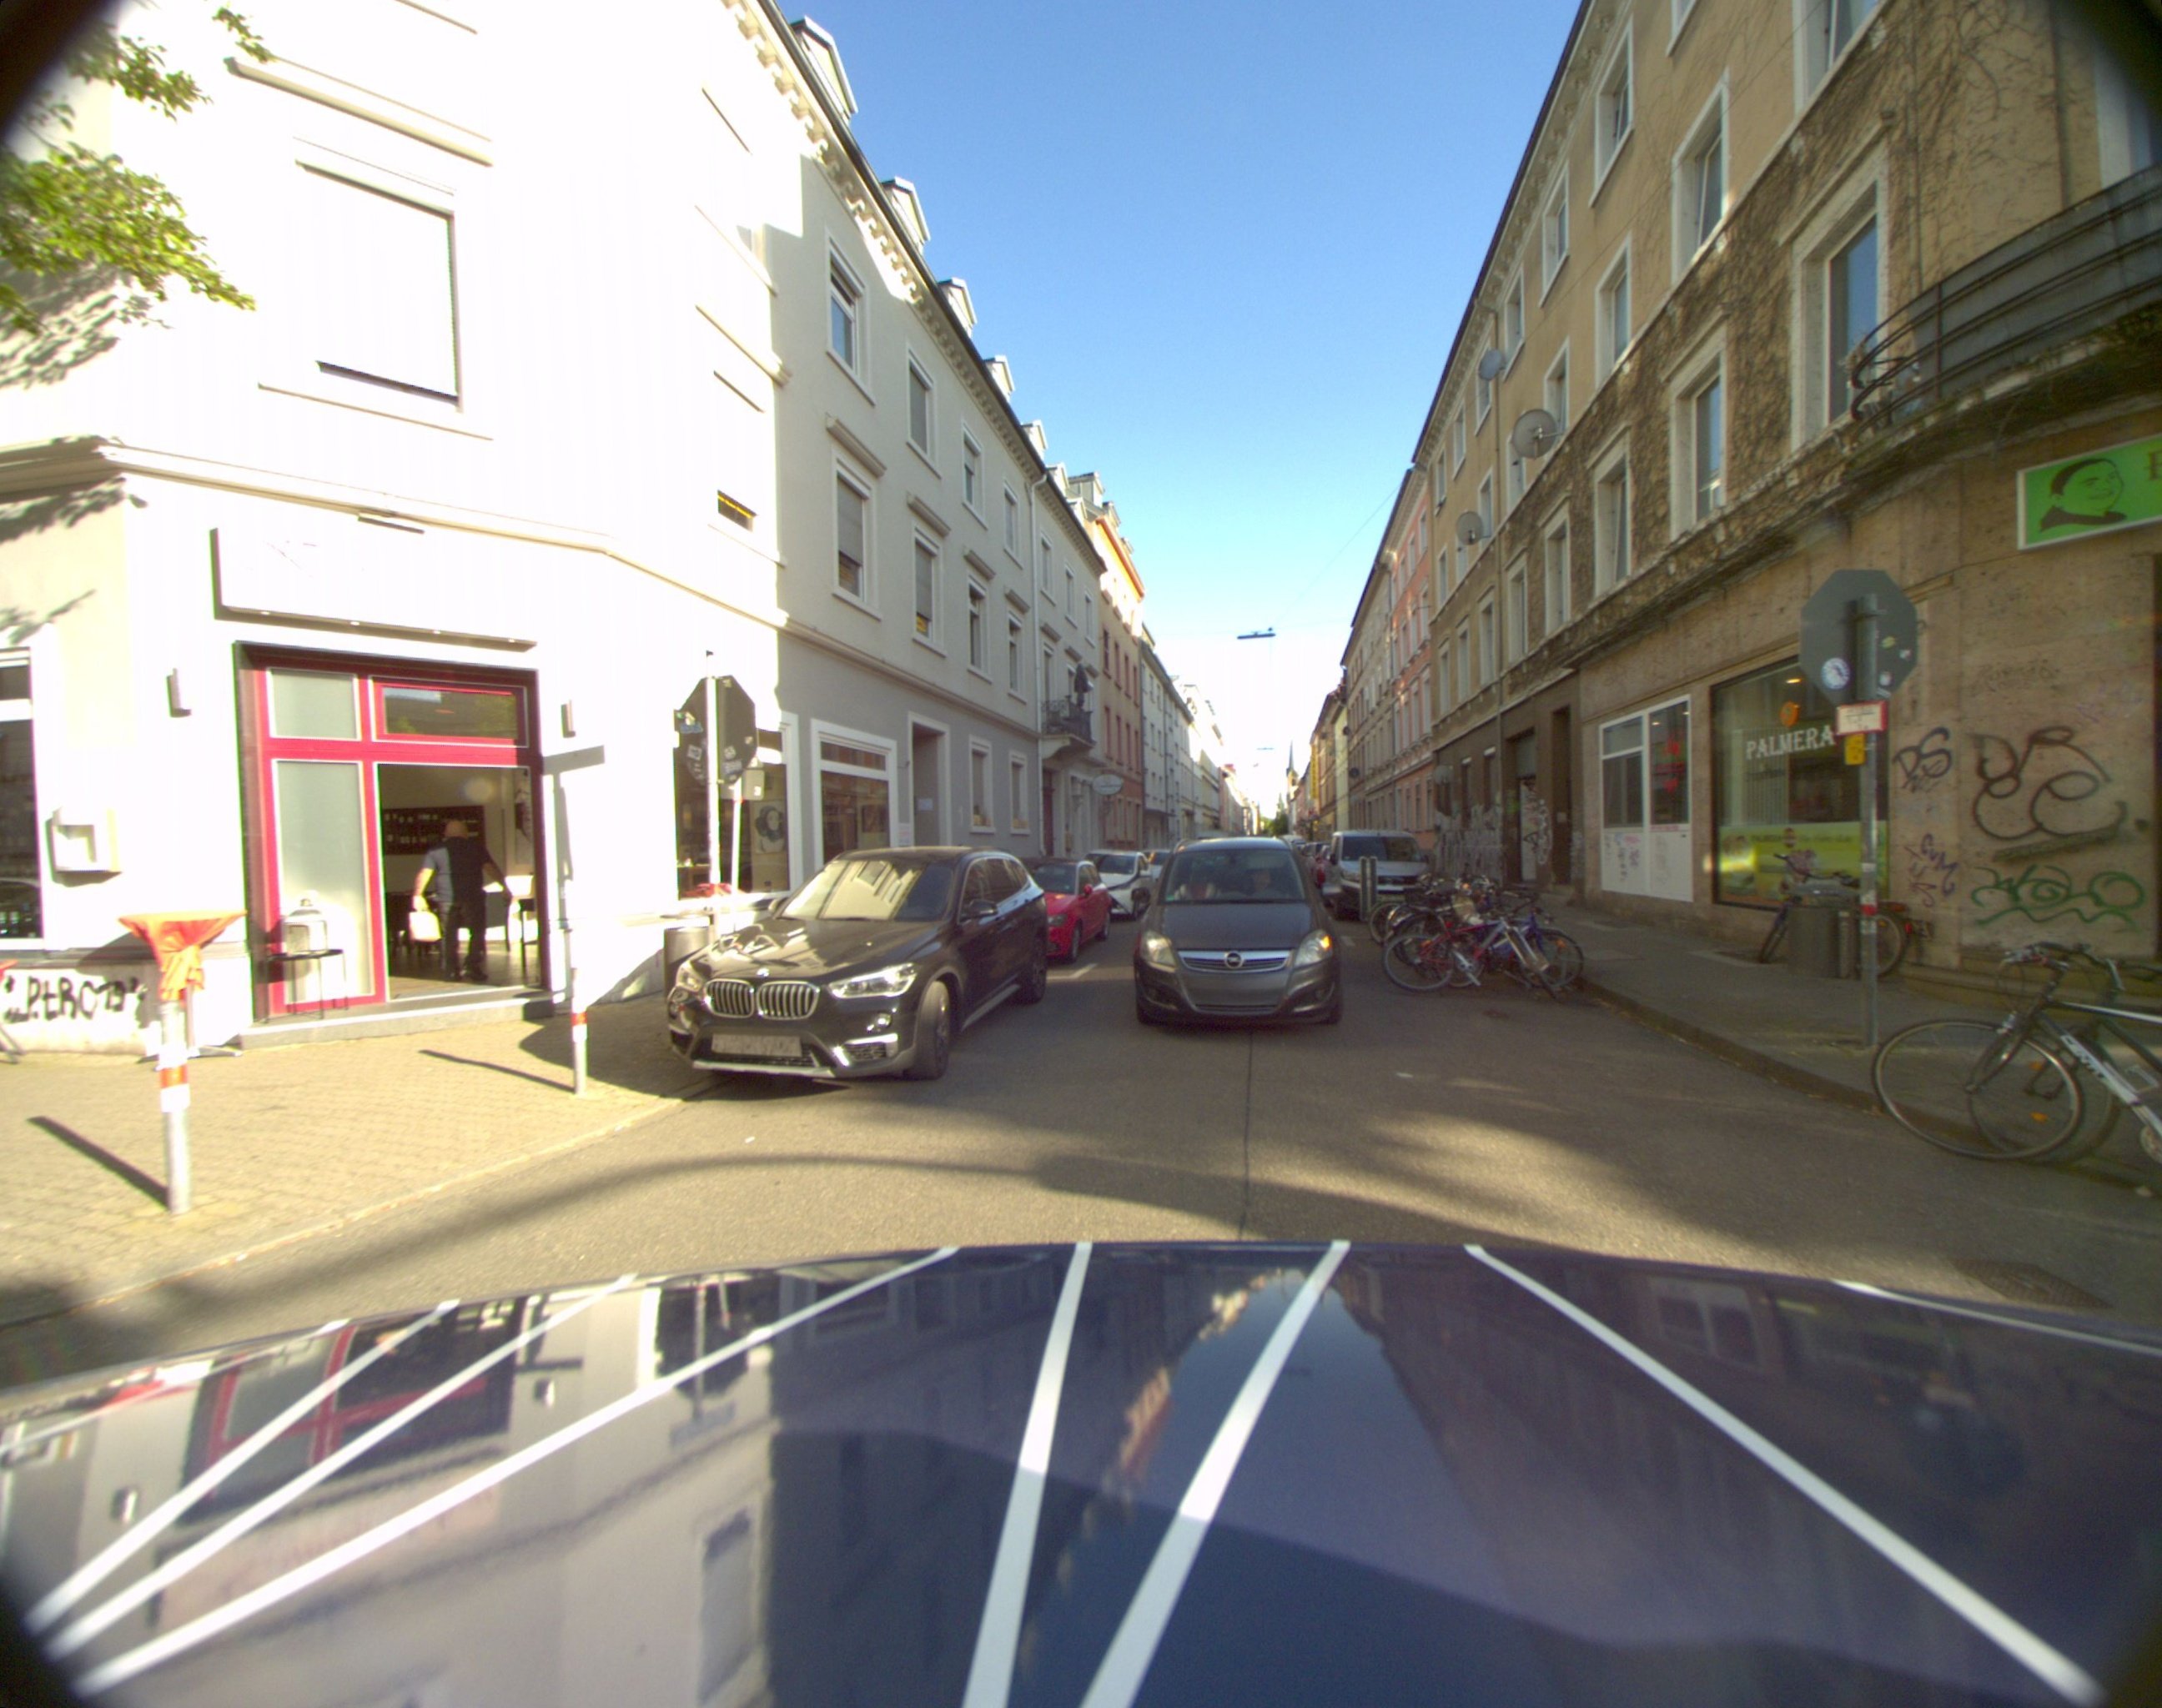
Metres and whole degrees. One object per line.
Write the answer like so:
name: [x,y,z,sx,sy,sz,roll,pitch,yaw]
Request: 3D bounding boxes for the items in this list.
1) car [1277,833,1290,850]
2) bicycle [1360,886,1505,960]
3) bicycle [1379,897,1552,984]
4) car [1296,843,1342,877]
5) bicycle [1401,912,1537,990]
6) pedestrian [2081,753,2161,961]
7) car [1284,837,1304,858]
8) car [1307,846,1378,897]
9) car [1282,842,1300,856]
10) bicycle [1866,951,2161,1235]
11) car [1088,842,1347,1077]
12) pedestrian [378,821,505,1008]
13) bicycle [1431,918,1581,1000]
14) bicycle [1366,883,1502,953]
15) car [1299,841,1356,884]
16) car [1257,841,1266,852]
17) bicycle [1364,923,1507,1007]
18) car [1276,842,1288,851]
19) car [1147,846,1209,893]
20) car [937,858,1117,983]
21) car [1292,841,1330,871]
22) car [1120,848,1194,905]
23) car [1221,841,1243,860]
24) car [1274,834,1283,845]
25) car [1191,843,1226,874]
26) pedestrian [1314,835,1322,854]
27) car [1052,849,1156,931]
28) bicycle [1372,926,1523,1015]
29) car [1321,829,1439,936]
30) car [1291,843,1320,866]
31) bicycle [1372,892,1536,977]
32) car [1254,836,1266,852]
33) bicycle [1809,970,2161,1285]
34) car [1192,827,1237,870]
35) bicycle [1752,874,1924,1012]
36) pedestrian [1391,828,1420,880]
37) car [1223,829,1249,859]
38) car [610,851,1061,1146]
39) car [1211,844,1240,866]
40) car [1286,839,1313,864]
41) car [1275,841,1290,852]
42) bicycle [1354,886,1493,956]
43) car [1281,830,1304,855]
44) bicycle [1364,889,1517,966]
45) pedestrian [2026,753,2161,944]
car: [27.623,-1.712,103.732,1.681,2.353,4.102,-1,1,14]
bicycle: [4.838,0.953,10.537,1.767,0.956,0.422,-1,1,13]
bicycle: [4.519,1.022,8.996,1.768,0.956,0.428,-2,1,7]
car: [11.108,0.240,35.637,1.682,1.484,3.614,-1,1,12]
bicycle: [4.384,1.093,8.625,1.311,0.813,0.382,0,1,4]
pedestrian: [9.431,0.016,6.498,0.756,1.731,0.749,-1,1,10]
car: [20.158,-0.601,71.948,1.750,1.880,4.776,-1,1,16]
car: [8.316,0.488,24.440,1.681,1.465,4.206,1,1,13]
car: [21.298,-0.538,77.110,1.681,1.381,3.863,-1,1,14]
bicycle: [4.606,1.041,3.255,0.451,1.040,1.660,-2,1,-26]
car: [1.571,0.760,8.117,1.797,1.652,5.189,-3,0,13]
pedestrian: [-6.586,0.577,7.890,0.866,1.789,0.849,-2,1,-34]
bicycle: [4.611,1.134,8.288,1.389,0.813,0.362,0,1,4]
bicycle: [5.226,0.947,11.333,1.767,0.983,0.464,-1,1,13]
car: [9.318,0.283,28.893,1.682,1.540,2.962,0,1,10]
car: [37.984,-1.572,160.103,1.682,2.077,4.163,-3,0,14]
bicycle: [3.706,1.162,7.987,1.311,0.813,0.355,-2,1,4]
car: [31.267,-1.166,118.325,1.681,1.381,3.863,-1,1,14]
car: [3.834,0.532,29.513,1.681,1.588,4.194,-3,0,16]
car: [-0.633,0.888,11.783,1.648,1.494,3.958,-3,0,12]
car: [12.149,0.094,40.313,1.681,1.454,4.317,-1,1,14]
car: [2.480,0.634,23.845,1.682,1.501,4.193,-3,0,13]
car: [13.564,-0.337,68.062,1.682,1.626,3.863,-3,0,14]
car: [59.469,-4.394,229.116,2.562,3.030,7.068,-3,0,14]
car: [7.049,0.219,41.821,1.682,1.550,3.863,-3,0,11]
pedestrian: [24.051,-0.959,77.080,0.625,1.820,0.595,-3,1,15]
car: [0.640,0.739,17.405,1.639,1.577,3.791,-3,0,12]
bicycle: [3.650,1.157,7.610,1.311,0.813,0.371,-2,1,4]
car: [6.087,0.461,15.961,1.681,1.899,4.523,2,2,14]
car: [14.802,0.009,50.297,1.681,1.454,3.863,-1,1,14]
bicycle: [4.589,0.989,9.405,1.769,0.956,0.481,-2,1,2]
car: [39.263,-2.254,166.797,2.434,3.404,5.548,-3,1,14]
bicycle: [4.178,1.095,3.074,0.459,1.039,1.685,-2,-1,-26]
car: [8.596,-0.383,48.340,2.048,2.498,6.029,-3,0,16]
bicycle: [7.122,0.779,7.247,0.398,1.086,1.592,-1,1,14]
pedestrian: [11.573,-0.004,27.115,0.789,1.820,0.595,-3,1,14]
car: [15.135,-0.970,74.025,2.048,2.662,6.191,-3,0,14]
car: [-1.579,0.870,6.610,1.763,1.652,4.200,-3,0,12]
car: [10.127,0.051,53.168,1.681,1.434,3.863,-3,0,14]
car: [15.803,-0.193,55.032,1.681,1.674,3.863,-1,1,14]
car: [25.724,-0.957,97.016,1.681,1.381,3.863,-1,1,14]
bicycle: [4.902,0.967,10.955,1.767,0.956,0.405,-1,1,13]
car: [23.017,-1.249,82.902,2.091,2.576,5.848,-1,1,13]
bicycle: [4.739,0.968,10.098,1.767,0.956,0.443,-1,1,13]
pedestrian: [9.746,-0.051,7.336,0.645,1.731,0.696,-1,1,39]
